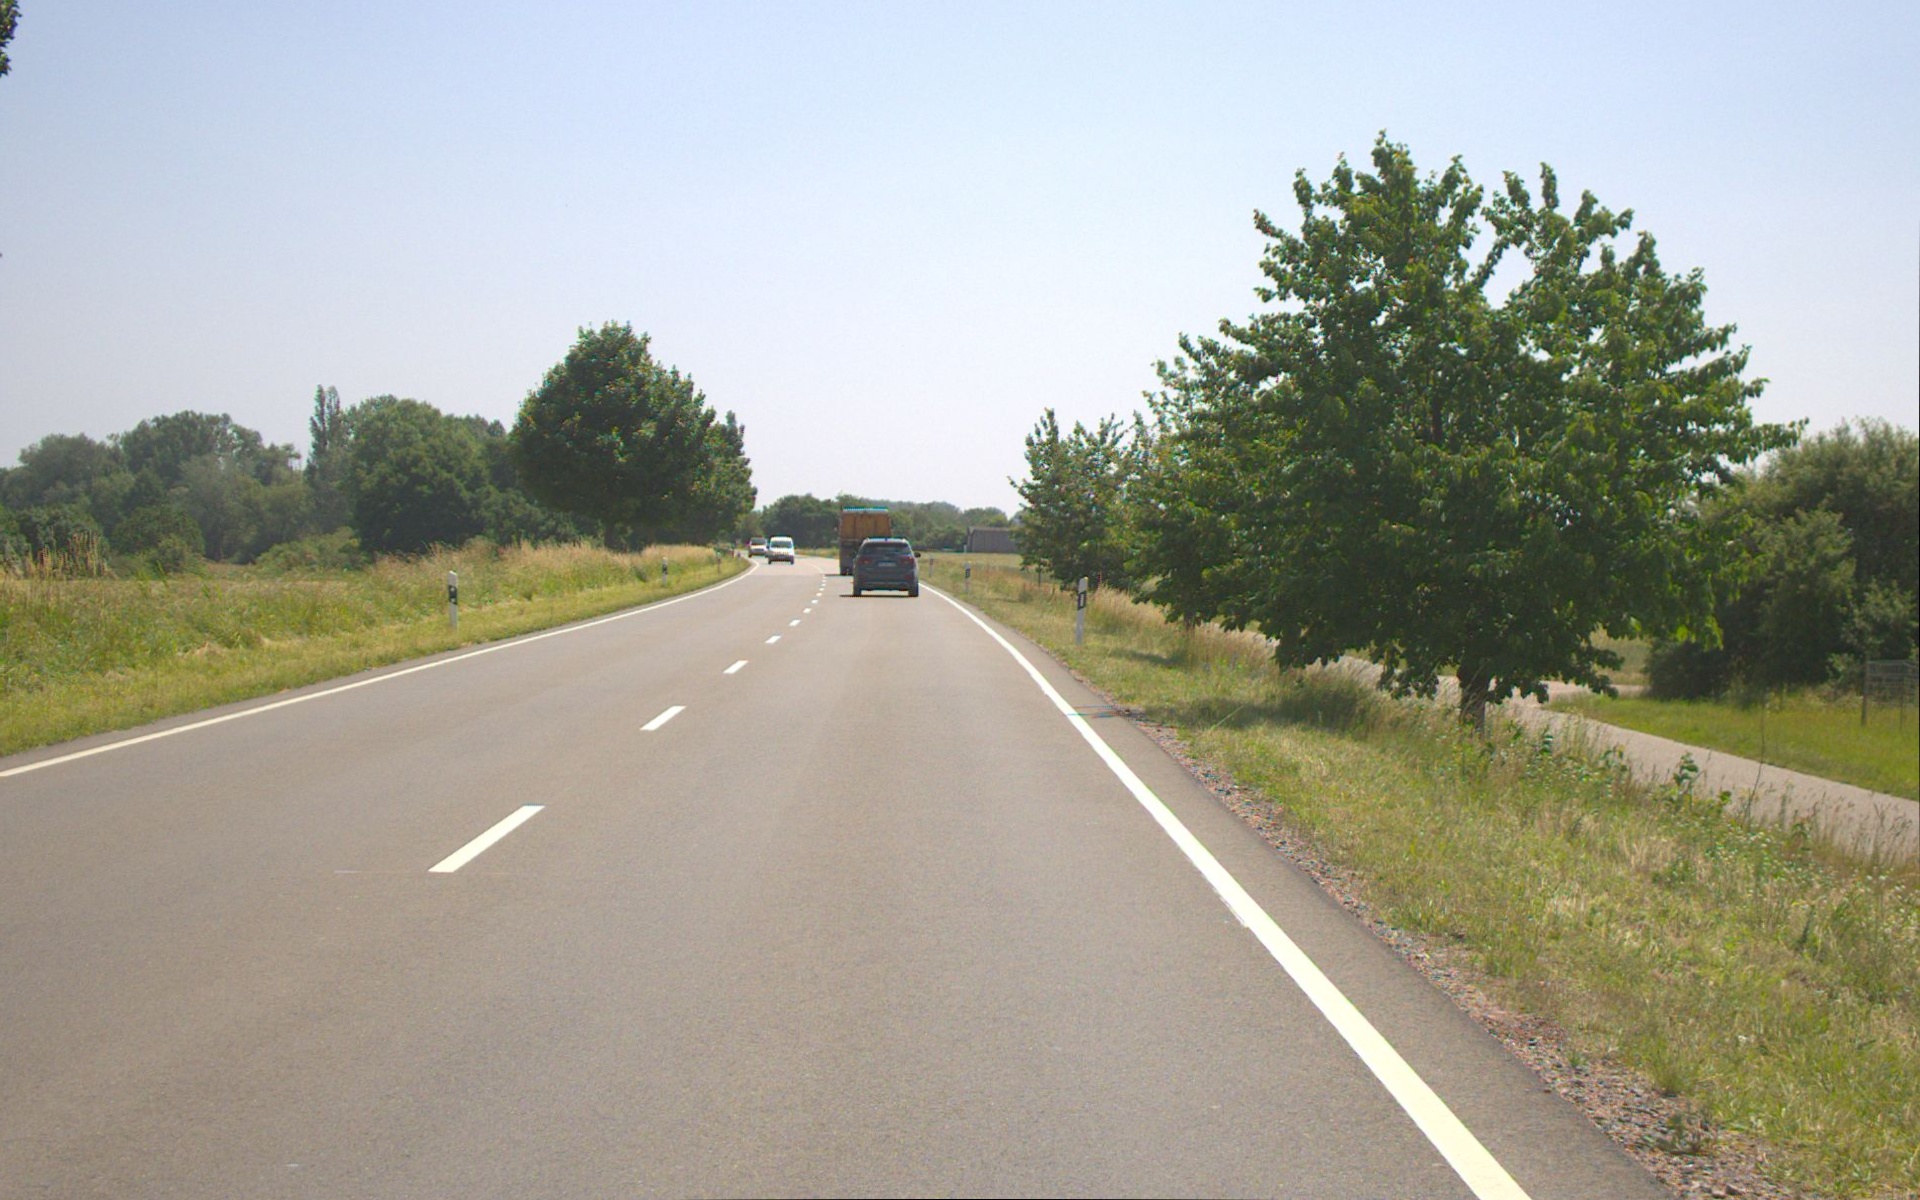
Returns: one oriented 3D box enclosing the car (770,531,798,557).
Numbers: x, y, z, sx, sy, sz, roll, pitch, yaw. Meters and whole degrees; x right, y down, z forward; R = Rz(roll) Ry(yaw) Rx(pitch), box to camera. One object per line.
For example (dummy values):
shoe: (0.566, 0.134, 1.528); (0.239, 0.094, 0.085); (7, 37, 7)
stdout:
car: (-12.039, -3.797, 234.908); (1.787, 1.722, 4.304); (1, 1, -1)

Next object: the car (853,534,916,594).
car: (-2.166, -1.038, 99.525); (1.714, 1.688, 3.989); (1, 1, 0)

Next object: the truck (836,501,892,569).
truck: (-4.600, -3.076, 163.629); (2.370, 3.129, 8.749); (1, 1, -3)
